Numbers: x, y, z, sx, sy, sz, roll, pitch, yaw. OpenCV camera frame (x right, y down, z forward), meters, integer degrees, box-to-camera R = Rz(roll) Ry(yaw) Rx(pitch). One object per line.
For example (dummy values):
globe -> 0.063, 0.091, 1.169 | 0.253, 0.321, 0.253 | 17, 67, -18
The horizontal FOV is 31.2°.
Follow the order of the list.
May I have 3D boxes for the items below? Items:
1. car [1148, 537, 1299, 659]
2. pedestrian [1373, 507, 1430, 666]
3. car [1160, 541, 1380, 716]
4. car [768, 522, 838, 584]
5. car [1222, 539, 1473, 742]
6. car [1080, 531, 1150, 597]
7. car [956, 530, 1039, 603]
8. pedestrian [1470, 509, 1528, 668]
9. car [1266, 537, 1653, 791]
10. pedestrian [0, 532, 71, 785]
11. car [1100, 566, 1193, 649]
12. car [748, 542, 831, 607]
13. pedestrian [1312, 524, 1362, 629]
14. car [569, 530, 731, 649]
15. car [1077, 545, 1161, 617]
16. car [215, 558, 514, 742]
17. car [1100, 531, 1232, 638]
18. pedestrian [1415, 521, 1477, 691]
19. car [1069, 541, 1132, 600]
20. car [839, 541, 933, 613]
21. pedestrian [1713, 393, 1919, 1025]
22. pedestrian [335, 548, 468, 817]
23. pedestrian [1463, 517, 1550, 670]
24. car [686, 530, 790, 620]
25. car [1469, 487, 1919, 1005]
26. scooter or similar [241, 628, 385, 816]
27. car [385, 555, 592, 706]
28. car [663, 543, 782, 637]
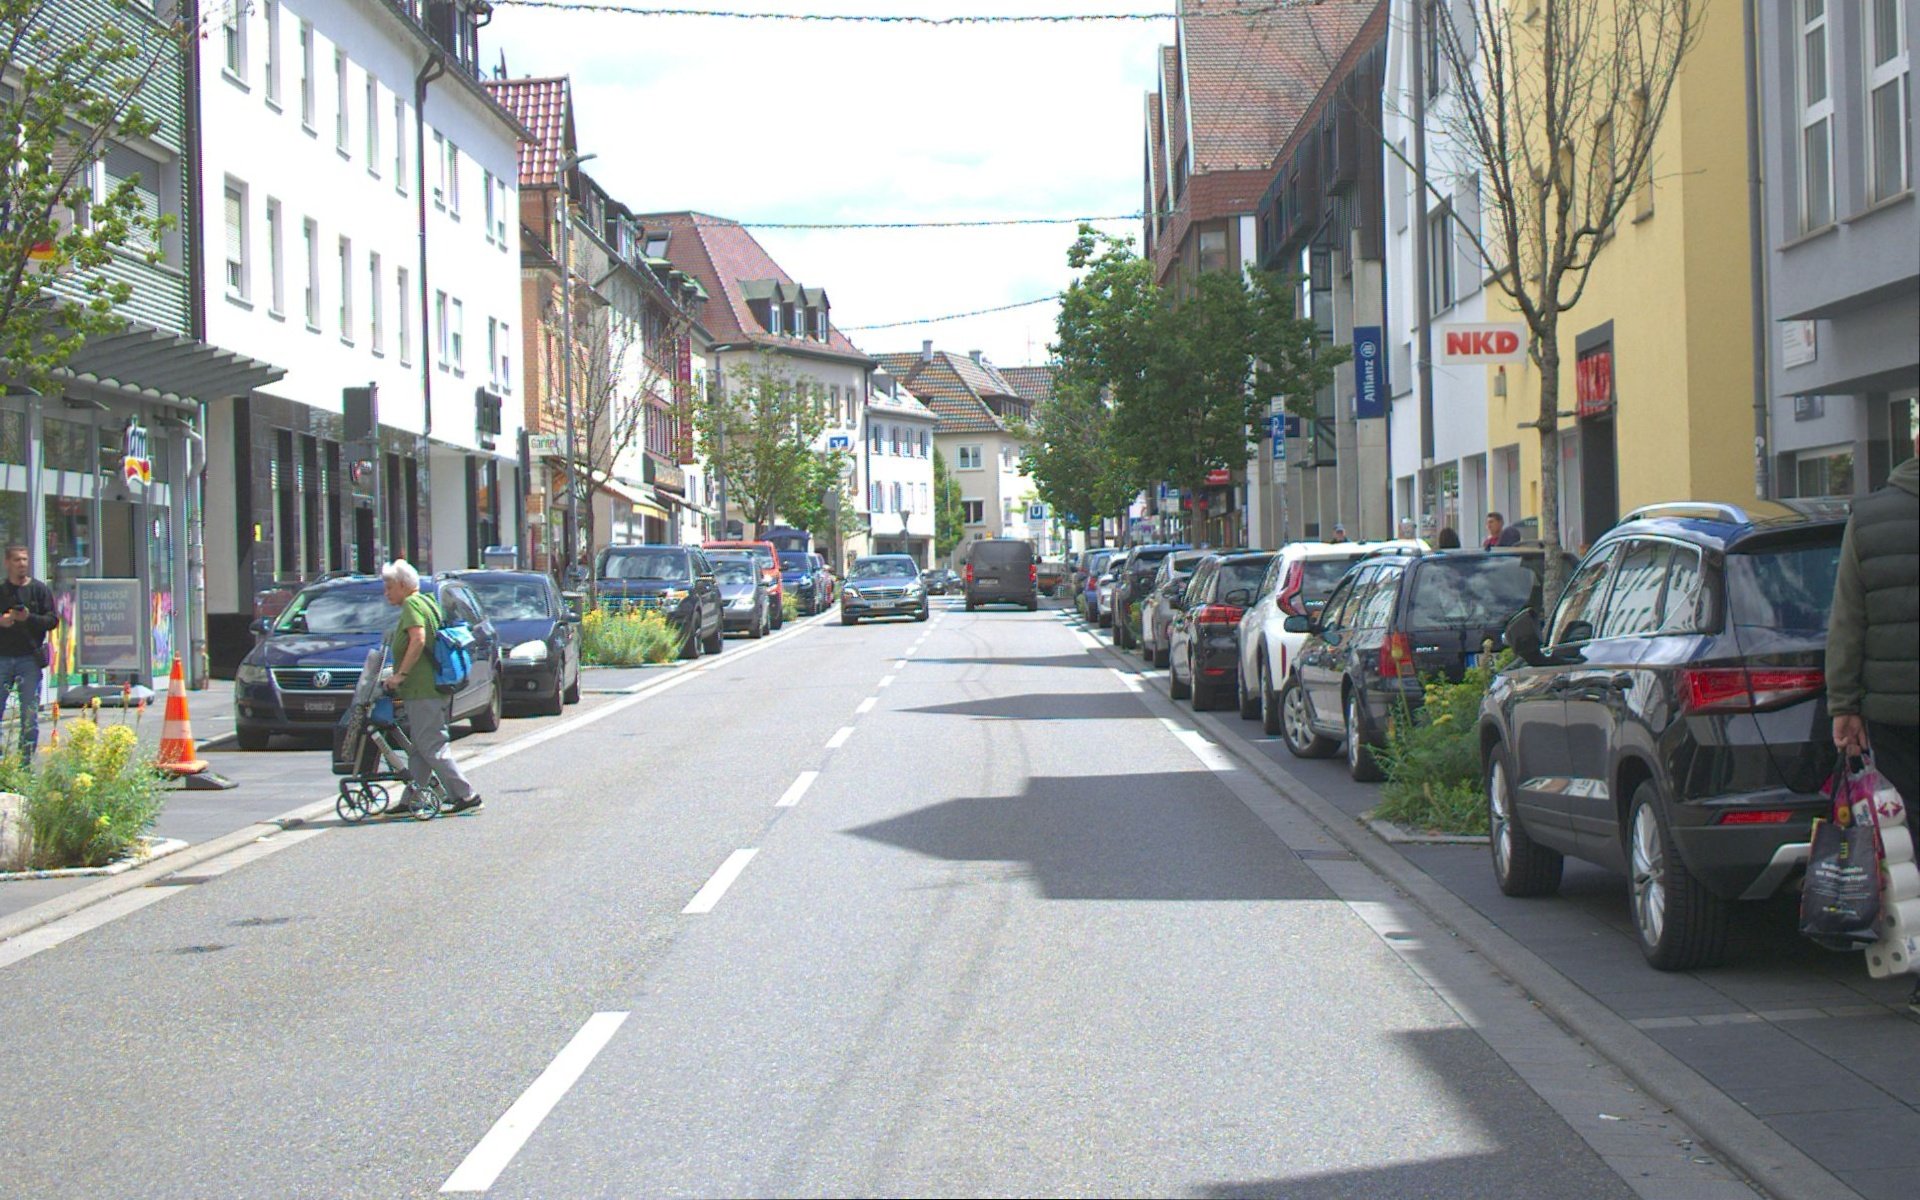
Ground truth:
car -> 3.313, -0.028, 43.871 | 1.721, 1.471, 4.354 | 1, 0, 2
pedestrian -> 5.160, -0.155, 40.181 | 0.588, 1.834, 0.576 | 1, 0, 1
car -> 2.912, 0.219, 33.149 | 1.689, 1.467, 4.524 | 1, 2, 0
car -> -4.229, -1.261, 92.806 | 1.799, 1.598, 4.352 | -1, 1, -2
car -> 3.163, 0.311, 28.673 | 1.689, 1.568, 3.756 | 1, 0, 0
car -> 3.772, -0.896, 83.868 | 1.609, 1.527, 3.795 | -2, 1, 2
car -> 0.944, -0.853, 89.950 | 2.040, 1.842, 4.999 | 1, 0, -1
pedestrian -> 6.294, -0.132, 40.165 | 0.588, 1.834, 0.576 | 1, 0, 1
car -> 3.205, 0.379, 22.877 | 1.689, 1.435, 4.296 | -3, 0, -3
pedestrian -> -6.616, 0.403, 24.186 | 0.548, 1.751, 0.729 | 1, 0, -2
car -> 3.645, 0.142, 67.678 | 1.721, 1.571, 4.428 | 1, 0, 2
car -> -4.294, -0.661, 86.980 | 1.799, 1.592, 4.389 | 0, 1, 1
pedestrian -> 6.273, -0.386, 57.231 | 0.741, 1.731, 0.757 | 1, 0, 1
car -> -4.767, -0.165, 53.474 | 1.816, 1.749, 4.668 | 1, 0, 3
car -> 3.370, -0.398, 73.286 | 1.721, 1.488, 4.109 | 1, 0, 2
car -> -5.193, 0.382, 30.556 | 1.790, 1.507, 4.712 | 0, 1, 1
car -> 3.140, -0.228, 53.032 | 1.721, 1.571, 4.109 | 1, 0, -1
pedestrian -> 5.296, 0.065, 37.504 | 0.588, 1.834, 0.576 | 1, 0, 1
car -> 3.914, -0.835, 95.965 | 1.609, 1.490, 3.795 | -4, 1, 2
car -> -1.629, -0.507, 77.166 | 1.905, 1.558, 4.645 | 1, 0, 1
pedestrian -> 2.958, 0.308, 10.633 | 0.975, 1.857, 0.864 | -3, 0, -1
pedestrian -> -3.411, 0.498, 21.050 | 0.731, 1.612, 0.651 | 1, 0, -4
pedestrian -> 5.671, -0.066, 35.693 | 0.749, 1.548, 0.726 | -1, 0, 0
car -> -4.777, -0.528, 74.599 | 1.816, 1.882, 4.841 | 1, 0, 1
car -> 3.180, 0.400, 12.939 | 1.799, 1.598, 4.204 | -3, 1, -1
scooter or similar -> -3.951, 0.737, 21.031 | 0.781, 1.122, 0.630 | 1, 0, -4
car -> -4.958, 0.284, 36.601 | 1.790, 1.498, 4.178 | 1, 1, -3
car -> -4.561, -0.188, 66.450 | 1.816, 1.749, 4.463 | 1, 0, 2
